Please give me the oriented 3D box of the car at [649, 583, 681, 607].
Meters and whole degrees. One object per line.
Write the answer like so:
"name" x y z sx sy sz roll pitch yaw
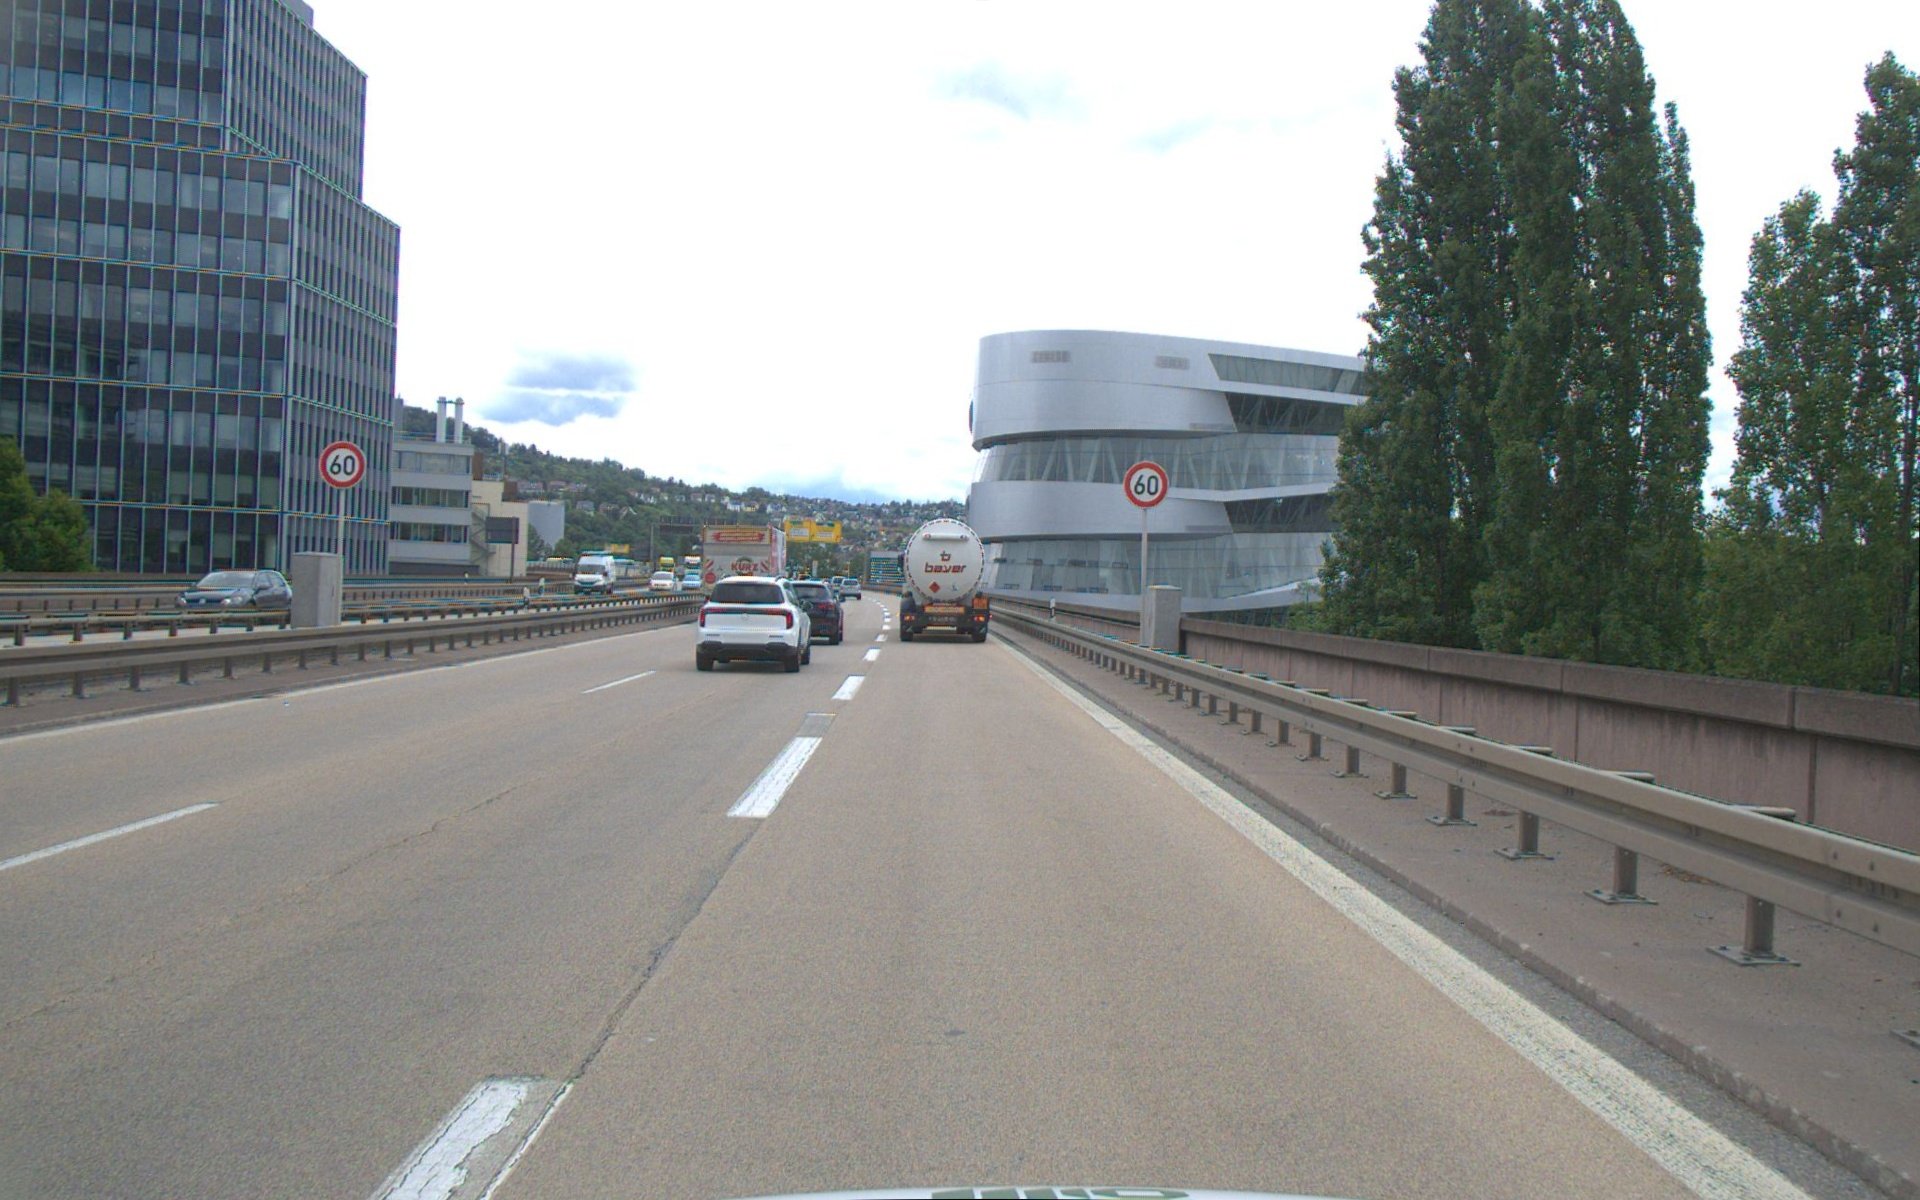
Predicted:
"car" -21.787 -0.352 122.303 1.649 1.679 4.311 2 0 -1

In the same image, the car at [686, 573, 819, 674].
"car" -3.771 0.403 30.743 1.953 1.704 4.407 1 0 -1

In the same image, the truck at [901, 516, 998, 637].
"truck" -0.408 -0.722 54.787 2.953 3.721 6.271 1 0 -2

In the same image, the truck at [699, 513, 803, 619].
"truck" -7.927 -1.236 63.705 2.995 3.755 8.302 1 0 -1

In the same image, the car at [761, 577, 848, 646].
"car" -4.071 0.300 43.965 1.953 1.704 4.407 1 0 -1

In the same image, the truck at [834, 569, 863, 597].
"truck" -9.196 -1.355 136.604 2.210 2.201 5.066 1 0 -2

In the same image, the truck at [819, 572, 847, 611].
"truck" -15.408 -1.011 200.296 2.998 4.642 8.292 1 0 -6

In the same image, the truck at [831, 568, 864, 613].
"truck" -12.026 -0.976 175.965 2.998 4.642 8.292 1 0 -6

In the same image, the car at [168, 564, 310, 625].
"car" -18.195 -0.134 41.951 1.750 1.401 4.229 2 0 -1

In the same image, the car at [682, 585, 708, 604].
"car" -24.327 -0.483 151.944 1.649 1.679 4.447 2 0 -1

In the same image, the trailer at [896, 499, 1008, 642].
"trailer" -0.277 -0.814 49.522 2.995 3.856 8.302 1 0 -1

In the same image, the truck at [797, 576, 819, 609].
"truck" -22.465 -1.093 244.427 2.998 4.642 8.292 1 0 -6

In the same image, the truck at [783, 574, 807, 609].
"truck" -22.685 -1.126 227.272 2.998 4.642 8.292 1 0 -6

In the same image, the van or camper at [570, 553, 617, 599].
"van or camper" -25.459 -1.628 115.080 2.128 3.061 7.112 1 0 -4
